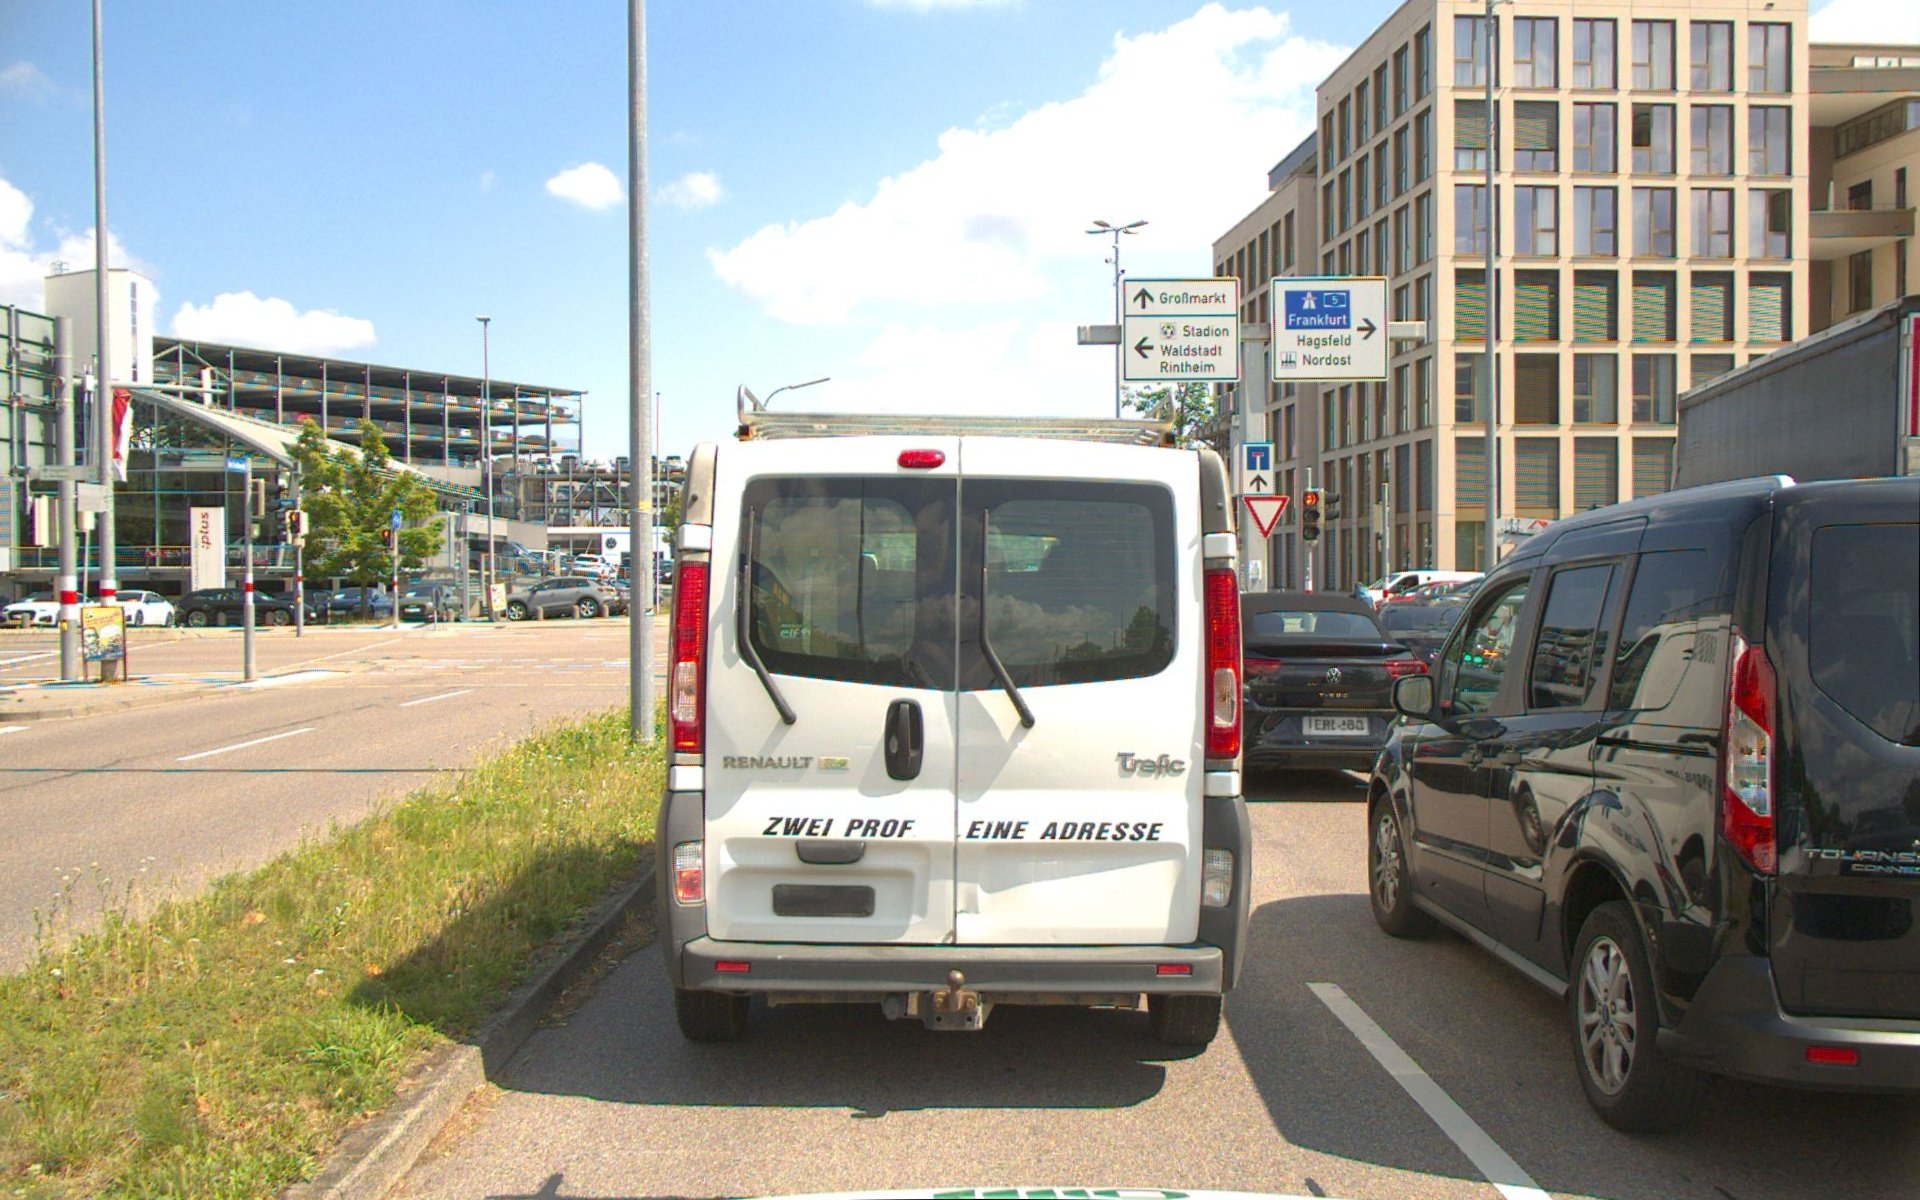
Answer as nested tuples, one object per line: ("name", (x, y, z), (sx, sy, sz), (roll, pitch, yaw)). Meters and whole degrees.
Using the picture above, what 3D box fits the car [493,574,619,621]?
("car", (-15.725, -0.091, 64.558), (4.484, 1.707, 1.906), (1, 0, -4))

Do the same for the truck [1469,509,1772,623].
("truck", (22.526, -1.108, 56.545), (9.568, 3.617, 2.670), (1, 0, -8))

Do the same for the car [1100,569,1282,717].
("car", (2.775, 0.475, 20.658), (1.737, 1.658, 4.000), (0, 0, 0))

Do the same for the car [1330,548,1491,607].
("car", (15.194, -0.734, 55.891), (4.883, 1.870, 1.996), (1, 0, -8))

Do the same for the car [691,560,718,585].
("car", (-16.688, -1.785, 108.294), (1.531, 1.579, 3.598), (0, 0, -6))

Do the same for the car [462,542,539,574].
("car", (-28.651, -2.627, 103.149), (4.356, 1.833, 1.762), (1, 0, -7))

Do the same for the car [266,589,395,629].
("car", (-26.242, 0.386, 69.067), (4.649, 1.537, 1.982), (-1, -2, -6))

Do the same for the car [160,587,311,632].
("car", (-26.025, 0.351, 59.542), (4.649, 1.490, 1.793), (-1, -3, -6))

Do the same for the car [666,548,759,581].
("car", (-17.290, -2.458, 115.717), (6.264, 2.139, 1.763), (1, 0, -6))

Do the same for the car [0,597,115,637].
("car", (-31.890, 0.585, 58.590), (1.864, 1.320, 4.585), (1, 0, -5))

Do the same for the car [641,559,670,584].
("car", (-19.991, -1.861, 108.697), (1.531, 1.579, 3.598), (1, 0, -6))

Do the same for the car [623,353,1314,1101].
("car", (-0.003, 0.347, 6.939), (1.933, 2.096, 4.564), (0, 0, -1))

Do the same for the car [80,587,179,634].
("car", (-29.376, 0.383, 58.616), (1.755, 1.490, 3.995), (-1, -2, -5))

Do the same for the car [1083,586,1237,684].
("car", (3.207, 0.543, 27.253), (1.818, 1.467, 3.997), (1, 0, -3))

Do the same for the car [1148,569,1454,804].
("car", (2.652, 0.605, 13.773), (1.737, 1.658, 4.000), (0, 0, 0))

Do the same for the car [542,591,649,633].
("car", (-16.548, 0.515, 75.279), (4.484, 1.707, 1.906), (-2, 2, -4))

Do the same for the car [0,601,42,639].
("car", (-34.398, 0.688, 58.244), (1.864, 1.320, 4.585), (1, 0, -5))

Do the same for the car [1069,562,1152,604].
("car", (7.804, -0.866, 85.786), (3.913, 2.049, 1.996), (1, 0, -9))

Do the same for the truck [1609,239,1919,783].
("truck", (9.263, -0.619, 16.718), (3.143, 4.098, 9.078), (1, 0, 9))

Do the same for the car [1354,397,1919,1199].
("car", (2.755, 0.493, 5.834), (1.786, 1.938, 4.000), (0, 0, 0))

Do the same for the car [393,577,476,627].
("car", (-18.947, 0.075, 59.826), (1.864, 1.707, 4.585), (1, 0, -5))

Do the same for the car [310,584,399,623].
("car", (-21.749, 0.116, 59.608), (1.864, 1.320, 4.585), (1, 0, -5))

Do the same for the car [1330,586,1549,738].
("car", (5.886, 0.865, 20.801), (1.820, 1.685, 4.220), (1, -5, 4))

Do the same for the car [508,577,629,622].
("car", (-15.884, -0.014, 67.273), (4.484, 1.707, 1.906), (1, 0, -4))

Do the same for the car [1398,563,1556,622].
("car", (15.357, -0.205, 49.219), (4.119, 1.655, 1.825), (1, 0, -8))
